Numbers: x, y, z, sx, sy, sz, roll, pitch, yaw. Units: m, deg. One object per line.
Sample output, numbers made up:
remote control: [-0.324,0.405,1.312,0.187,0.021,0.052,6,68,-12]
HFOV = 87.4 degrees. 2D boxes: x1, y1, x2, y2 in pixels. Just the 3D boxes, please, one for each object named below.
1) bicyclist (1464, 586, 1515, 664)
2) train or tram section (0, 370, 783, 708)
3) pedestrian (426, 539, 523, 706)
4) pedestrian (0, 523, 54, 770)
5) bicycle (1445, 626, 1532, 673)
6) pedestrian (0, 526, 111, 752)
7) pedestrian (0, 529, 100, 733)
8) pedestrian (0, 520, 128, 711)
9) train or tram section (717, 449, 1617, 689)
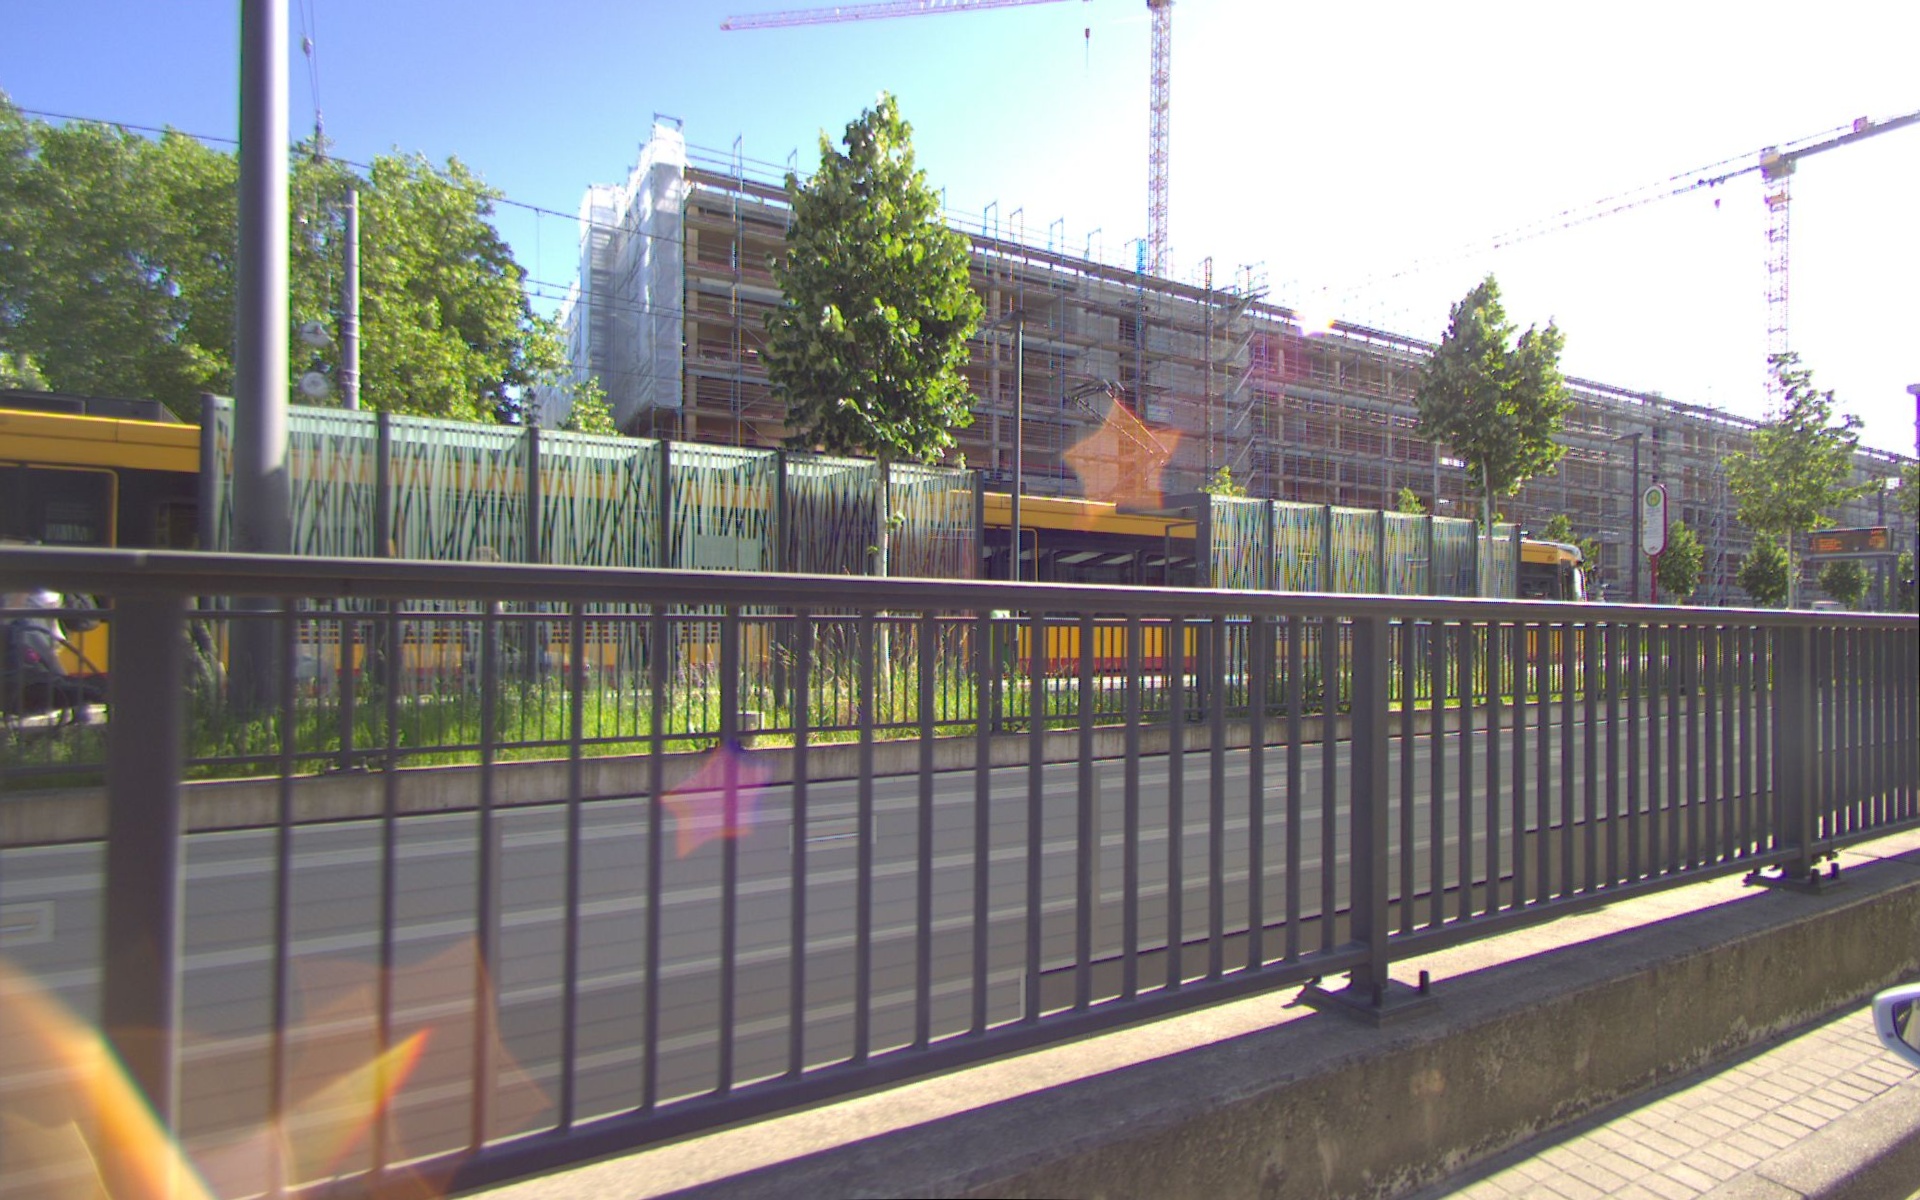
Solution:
bicyclist: [10.574,0.496,20.050,0.843,1.511,0.535,1,-1,-30]
train or tram section: [-9.665,-0.611,11.412,15.006,3.323,2.856,1,1,-30]
pedestrian: [-5.063,0.237,10.470,0.851,1.650,0.738,1,-1,-29]
pedestrian: [-6.908,0.309,6.883,0.851,1.650,0.738,1,-1,-29]
bicycle: [10.564,0.978,20.044,2.063,0.897,0.535,1,-1,-30]
pedestrian: [-7.163,0.293,7.681,0.851,1.650,0.738,1,-1,-29]
pedestrian: [-7.905,0.254,8.450,0.851,1.650,0.738,1,-1,-29]
pedestrian: [-8.233,0.145,9.148,0.851,1.650,0.738,1,-1,-29]
train or tram section: [6.186,-0.254,20.709,21.882,3.323,2.856,1,1,-30]
